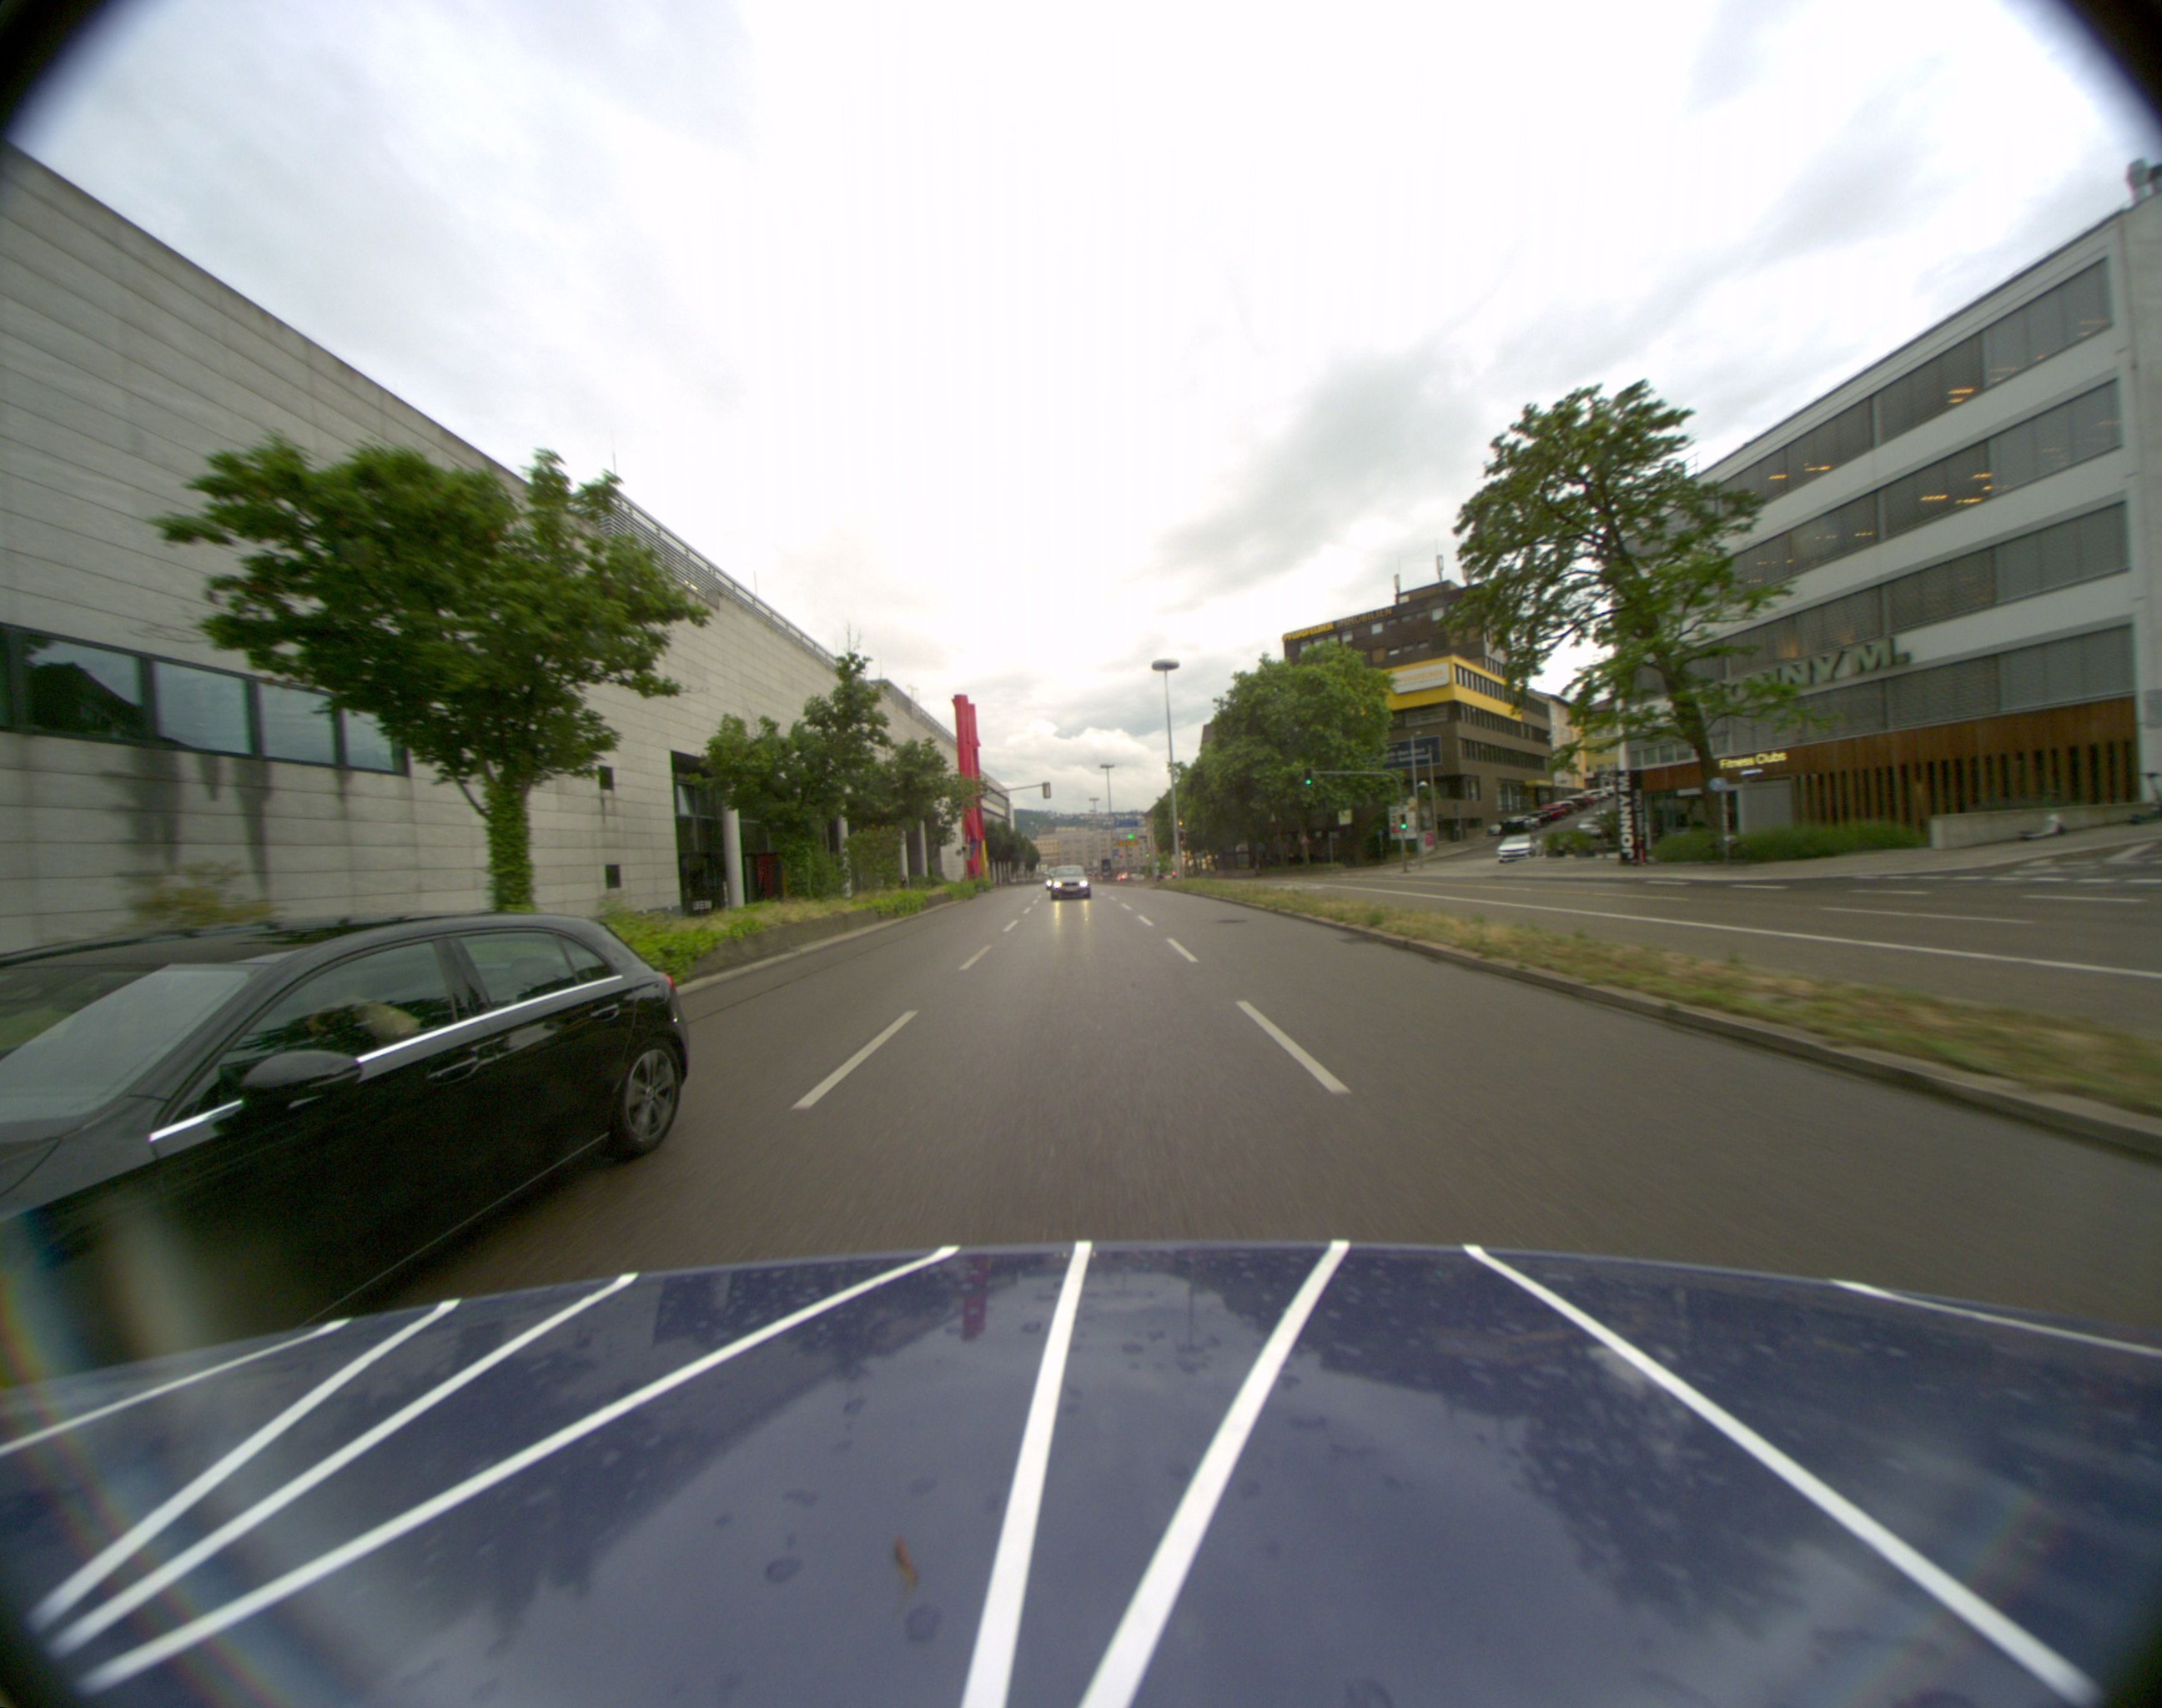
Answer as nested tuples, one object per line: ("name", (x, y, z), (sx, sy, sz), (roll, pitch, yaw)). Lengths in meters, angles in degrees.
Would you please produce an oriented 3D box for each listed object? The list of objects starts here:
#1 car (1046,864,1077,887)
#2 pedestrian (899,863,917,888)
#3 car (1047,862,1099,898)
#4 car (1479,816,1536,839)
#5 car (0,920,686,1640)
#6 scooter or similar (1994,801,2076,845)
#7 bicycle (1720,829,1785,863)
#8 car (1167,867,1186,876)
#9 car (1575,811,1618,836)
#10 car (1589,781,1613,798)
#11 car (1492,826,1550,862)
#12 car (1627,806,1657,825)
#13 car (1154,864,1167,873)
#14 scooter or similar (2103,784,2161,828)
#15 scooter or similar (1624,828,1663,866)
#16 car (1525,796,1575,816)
("car", (-1.275, 1.433, 50.536), (1.863, 1.449, 4.207), (-1, -2, 1))
("pedestrian", (-11.126, 1.365, 48.888), (0.972, 1.576, 0.842), (-2, -1, -3))
("car", (-0.270, 1.122, 33.441), (1.862, 1.427, 4.208), (-2, -2, 5))
("car", (38.254, -2.361, 68.191), (3.990, 1.674, 1.824), (-4, 0, 44))
("car", (-3.352, 1.093, 2.462), (1.877, 1.427, 4.206), (-3, -2, 0))
("scooter or similar", (24.758, -0.796, 19.731), (1.472, 0.916, 0.444), (-8, -1, -1))
("bicycle", (21.201, -0.240, 24.027), (0.458, 0.985, 1.758), (-4, 0, 1))
("car", (15.960, 2.954, 127.267), (1.999, 1.438, 4.880), (-2, -1, -5))
("car", (38.006, -2.287, 55.978), (1.995, 1.457, 4.495), (-5, 0, 42))
("car", (64.782, -8.048, 94.583), (1.815, 1.675, 4.005), (-3, 4, 44))
("car", (25.127, -0.586, 43.279), (1.995, 1.644, 4.851), (-5, 0, 39))
("car", (57.473, -3.967, 77.778), (1.995, 1.566, 4.495), (-5, 0, 42))
("car", (14.477, 2.619, 138.659), (1.758, 1.509, 4.170), (-2, -1, -2))
("scooter or similar", (27.268, -1.245, 19.466), (1.472, 0.916, 0.444), (-8, -1, -1))
("scooter or similar", (20.875, -0.265, 28.166), (1.757, 1.240, 0.369), (-6, 1, -28))
("car", (47.974, -4.903, 77.736), (3.989, 1.675, 1.823), (-3, 4, 44))
